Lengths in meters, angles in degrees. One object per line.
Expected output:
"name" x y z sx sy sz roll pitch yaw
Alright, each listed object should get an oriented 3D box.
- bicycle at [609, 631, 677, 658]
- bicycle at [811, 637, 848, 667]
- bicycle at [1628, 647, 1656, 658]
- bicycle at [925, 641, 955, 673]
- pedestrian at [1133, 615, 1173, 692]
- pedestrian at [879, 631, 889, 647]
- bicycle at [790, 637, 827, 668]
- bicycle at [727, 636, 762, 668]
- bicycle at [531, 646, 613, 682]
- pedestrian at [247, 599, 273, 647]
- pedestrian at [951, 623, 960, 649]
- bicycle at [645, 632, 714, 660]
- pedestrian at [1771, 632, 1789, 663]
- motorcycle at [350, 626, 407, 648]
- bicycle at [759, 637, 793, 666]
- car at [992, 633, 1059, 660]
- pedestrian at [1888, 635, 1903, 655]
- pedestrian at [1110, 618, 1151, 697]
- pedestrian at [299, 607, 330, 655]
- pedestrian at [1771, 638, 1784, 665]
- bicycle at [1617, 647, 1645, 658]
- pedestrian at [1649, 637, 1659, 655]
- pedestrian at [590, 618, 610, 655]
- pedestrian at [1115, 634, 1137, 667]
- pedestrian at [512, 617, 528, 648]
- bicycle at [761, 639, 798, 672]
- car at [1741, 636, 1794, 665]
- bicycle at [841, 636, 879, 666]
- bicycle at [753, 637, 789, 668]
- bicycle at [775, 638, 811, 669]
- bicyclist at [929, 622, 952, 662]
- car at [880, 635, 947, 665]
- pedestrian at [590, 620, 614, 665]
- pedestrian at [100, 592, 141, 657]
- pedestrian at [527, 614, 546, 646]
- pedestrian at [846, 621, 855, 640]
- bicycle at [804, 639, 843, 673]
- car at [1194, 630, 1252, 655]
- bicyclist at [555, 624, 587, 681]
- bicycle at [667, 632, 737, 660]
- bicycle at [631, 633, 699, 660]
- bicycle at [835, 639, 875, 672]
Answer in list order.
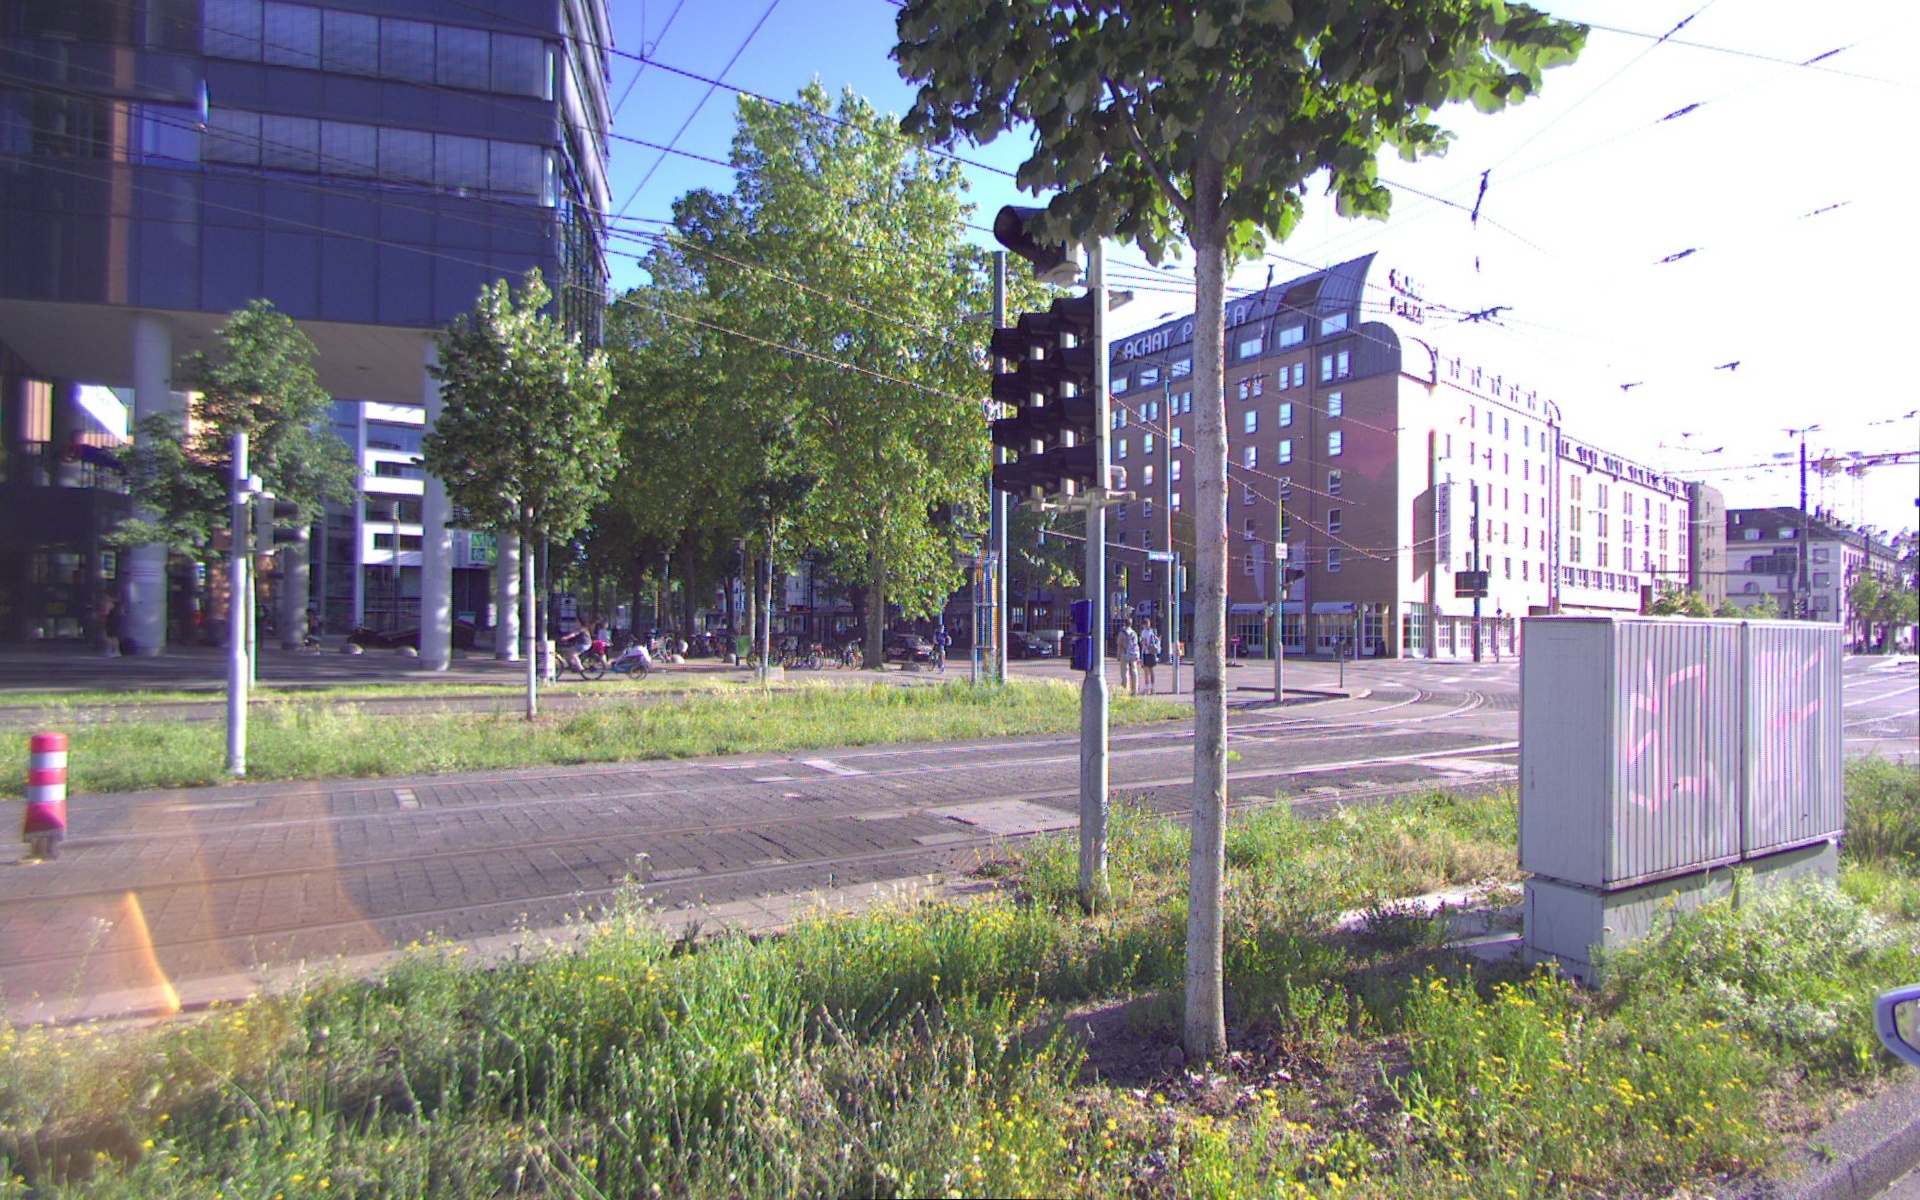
"bicycle" -16.717 2.342 53.117 1.021 1.371 3.342 -1 -2 44
"bicycle" -5.243 2.049 40.239 0.592 1.143 2.348 0 -1 -30
"bicycle" 59.627 4.607 87.810 0.477 0.933 2.024 1 -2 -30
"bicycle" -0.755 2.125 37.878 0.682 1.152 1.845 1 -2 -16
"pedestrian" 4.815 1.331 25.089 0.666 1.894 0.727 1 -2 -33
"pedestrian" -5.695 2.901 75.056 0.583 1.179 0.742 1 -1 -17
"bicycle" -5.902 2.034 39.102 0.592 1.143 2.348 0 -1 -30
"bicycle" -8.298 1.978 38.604 0.592 1.143 2.348 0 -1 -30
"bicycle" -10.897 1.786 28.237 2.043 0.962 0.686 2 -1 -31
"pedestrian" -25.768 0.860 36.983 0.691 1.727 0.728 1 -2 -31
"pedestrian" -0.309 2.541 71.220 0.581 1.853 0.745 1 -1 -1
"bicycle" -14.303 2.349 51.267 1.021 1.371 3.342 -1 -2 44
"pedestrian" 47.435 2.757 58.087 0.589 1.750 0.715 2 -2 -39
"motorcycle" -28.658 1.815 49.573 2.309 1.072 0.828 1 -1 -22
"bicycle" -7.535 2.079 41.002 0.592 1.143 2.348 0 -1 -30
"car" 3.540 2.517 55.125 1.653 1.433 3.965 2 -3 -32
"pedestrian" 82.295 3.960 88.361 0.850 1.692 0.781 0 0 39
"pedestrian" 4.145 1.383 24.442 0.691 1.894 0.728 1 -2 -31
"pedestrian" -22.490 1.076 35.008 0.722 1.644 0.696 1 -1 -18
"pedestrian" 48.731 3.076 59.867 0.573 1.598 0.644 0 -2 36
"bicycle" 58.448 4.592 87.536 0.477 0.933 2.024 1 -2 -30
"pedestrian" 72.612 4.820 105.116 0.560 1.787 0.711 2 -3 -38
"pedestrian" -16.431 1.651 45.799 0.691 1.674 0.700 2 -1 -32
"pedestrian" 8.740 2.644 52.880 0.821 1.702 0.711 0 -1 -30
"pedestrian" -25.097 1.837 57.336 0.691 1.737 0.727 1 -1 -33
"bicycle" -6.506 1.972 36.072 0.592 1.143 2.348 0 -1 -29
"car" 53.454 3.315 66.470 4.071 1.859 1.825 2 -4 -38
"bicycle" -4.059 2.059 40.699 0.592 1.143 2.348 0 -1 -30
"bicycle" -7.360 2.024 39.053 0.592 1.143 2.348 0 -1 -30
"bicycle" -6.477 2.060 38.833 0.592 1.143 2.348 0 -1 -30
"bicyclist" -0.743 1.585 37.884 0.682 1.480 0.752 1 -1 -16
"car" -2.340 2.435 49.304 1.652 1.425 3.968 2 -3 -30
"pedestrian" -13.673 1.619 38.337 0.819 1.702 0.712 -1 -1 -23
"pedestrian" -22.463 0.659 26.900 0.691 1.727 0.728 1 -2 -31
"pedestrian" -22.048 1.556 52.305 0.685 1.644 0.734 1 -1 1
"pedestrian" -9.072 2.515 83.199 0.557 1.594 0.636 2 0 -20
"bicycle" -4.962 2.021 36.414 0.592 1.143 2.348 0 -1 -29
"car" 17.664 2.831 67.580 1.596 1.622 3.832 1 -2 -29
"bicyclist" -10.927 1.466 28.214 0.695 1.550 0.686 1 -1 -31
"bicycle" -12.806 2.281 49.943 1.021 1.371 3.342 -1 -2 44
"bicycle" -15.358 2.401 52.334 1.021 1.371 3.342 -1 -2 44
"bicycle" -3.904 2.048 37.164 0.592 1.143 2.348 0 -1 -29
